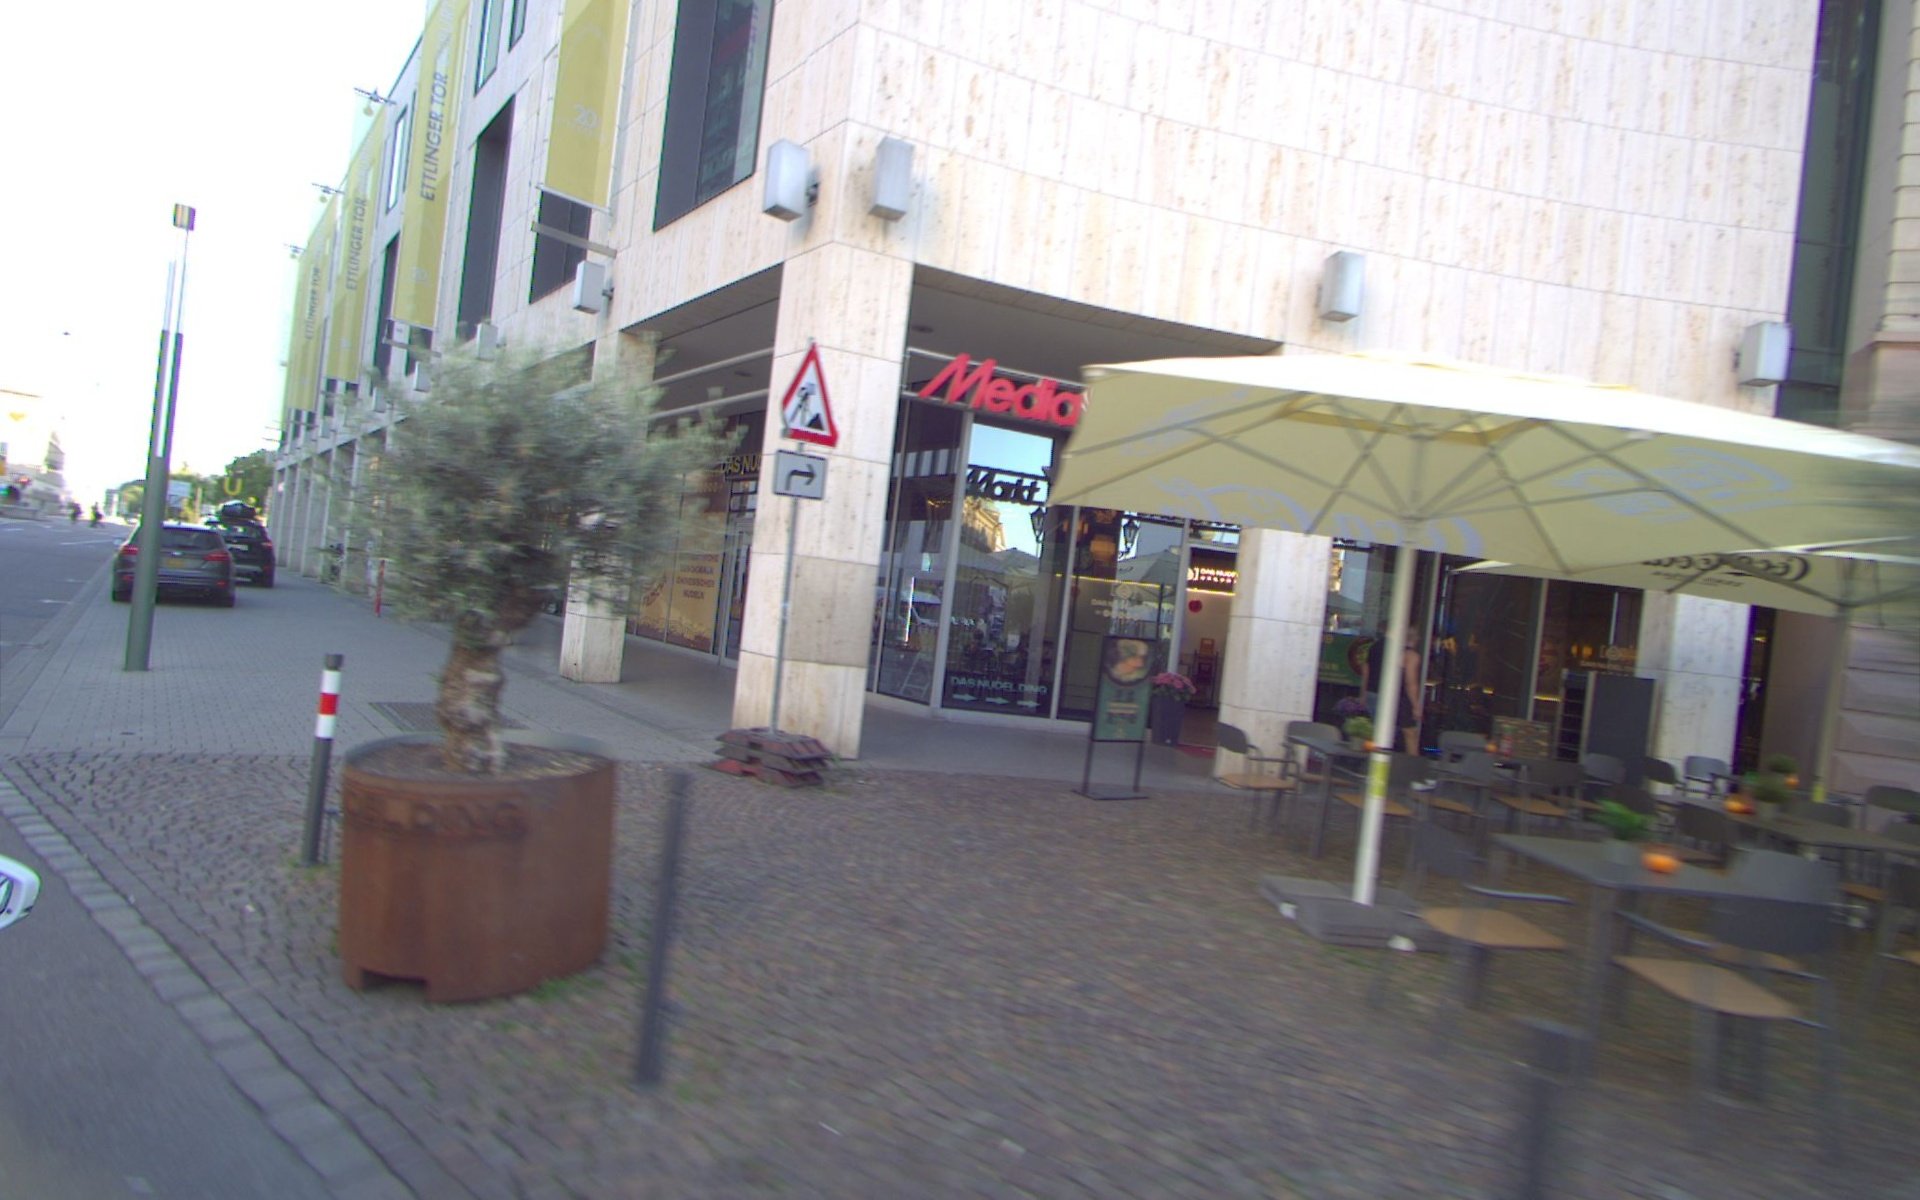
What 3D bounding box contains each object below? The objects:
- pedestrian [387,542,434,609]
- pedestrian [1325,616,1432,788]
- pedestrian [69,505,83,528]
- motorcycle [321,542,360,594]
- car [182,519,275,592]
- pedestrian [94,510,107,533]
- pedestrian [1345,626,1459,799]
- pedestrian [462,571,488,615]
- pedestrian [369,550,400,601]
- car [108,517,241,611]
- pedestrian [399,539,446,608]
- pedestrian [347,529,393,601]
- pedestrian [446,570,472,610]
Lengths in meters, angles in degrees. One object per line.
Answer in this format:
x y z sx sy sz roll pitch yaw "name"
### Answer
-14.143 -0.635 25.891 0.761 1.587 0.867 7 2 -40 "pedestrian"
4.897 1.182 11.802 0.707 1.885 0.667 7 0 -16 "pedestrian"
-74.392 -7.009 84.695 0.733 1.800 0.855 4 2 -35 "pedestrian"
-18.652 -0.977 30.263 0.689 1.433 2.114 7 0 -37 "motorcycle"
-19.231 -1.187 26.386 1.758 1.659 4.014 3 2 -39 "car"
-71.710 -6.564 83.929 0.734 1.800 0.854 3 2 -39 "pedestrian"
4.835 1.213 11.038 0.707 1.766 0.667 7 0 -16 "pedestrian"
-13.127 -0.190 27.207 0.418 1.111 0.520 6 2 -40 "pedestrian"
-19.223 -0.829 33.573 0.631 1.587 0.766 6 2 -40 "pedestrian"
-14.953 -0.721 19.168 1.785 1.510 4.148 3 2 -39 "car"
-14.226 -0.706 26.624 0.761 1.703 0.867 6 2 -40 "pedestrian"
-15.240 -0.906 25.980 0.761 1.703 0.867 6 2 -40 "pedestrian"
-13.341 -0.266 26.764 0.418 0.998 0.520 6 2 -40 "pedestrian"
